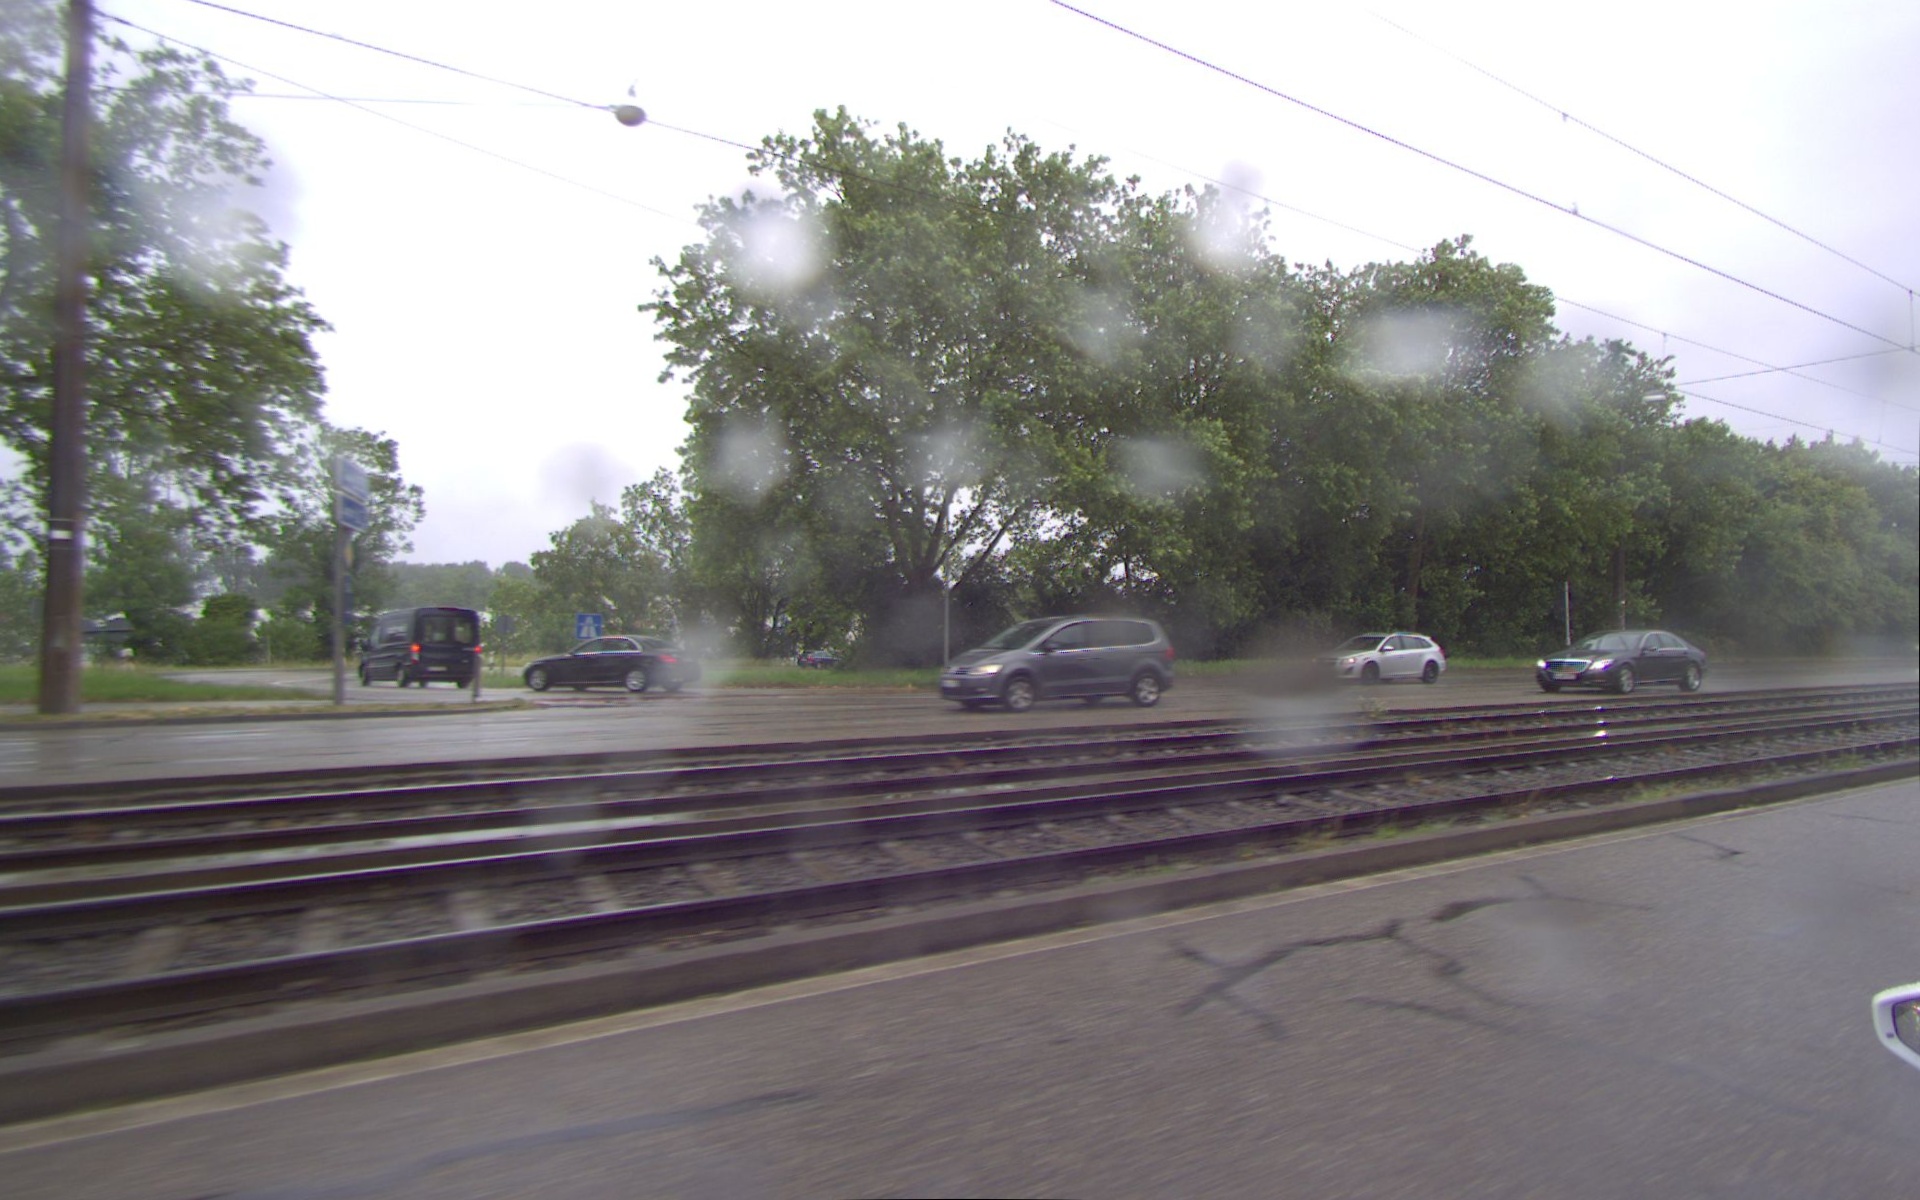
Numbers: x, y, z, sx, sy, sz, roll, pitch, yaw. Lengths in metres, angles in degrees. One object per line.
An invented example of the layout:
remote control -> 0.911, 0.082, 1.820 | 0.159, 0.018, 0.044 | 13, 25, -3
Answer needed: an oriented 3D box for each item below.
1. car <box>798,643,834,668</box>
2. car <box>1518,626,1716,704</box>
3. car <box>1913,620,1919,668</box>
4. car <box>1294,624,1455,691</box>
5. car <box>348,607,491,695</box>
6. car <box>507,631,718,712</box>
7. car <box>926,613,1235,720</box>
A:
car -> -11.449, 4.388, 79.829 | 1.628, 1.684, 3.619 | 0, 1, 13
car -> 16.007, 1.491, 24.367 | 5.615, 1.606, 1.767 | 0, 1, -31
car -> 51.171, 2.190, 51.138 | 6.909, 2.374, 2.088 | 0, 1, -31
car -> 12.297, 1.643, 29.707 | 4.962, 1.729, 1.810 | 0, 1, -31
car -> -17.270, 1.497, 31.949 | 5.766, 2.458, 2.326 | 1, 1, 43
car -> -8.831, 1.778, 25.712 | 4.667, 1.822, 2.090 | 0, 1, 9
car -> 2.422, 1.140, 19.205 | 6.033, 1.729, 1.810 | 0, 1, -31
